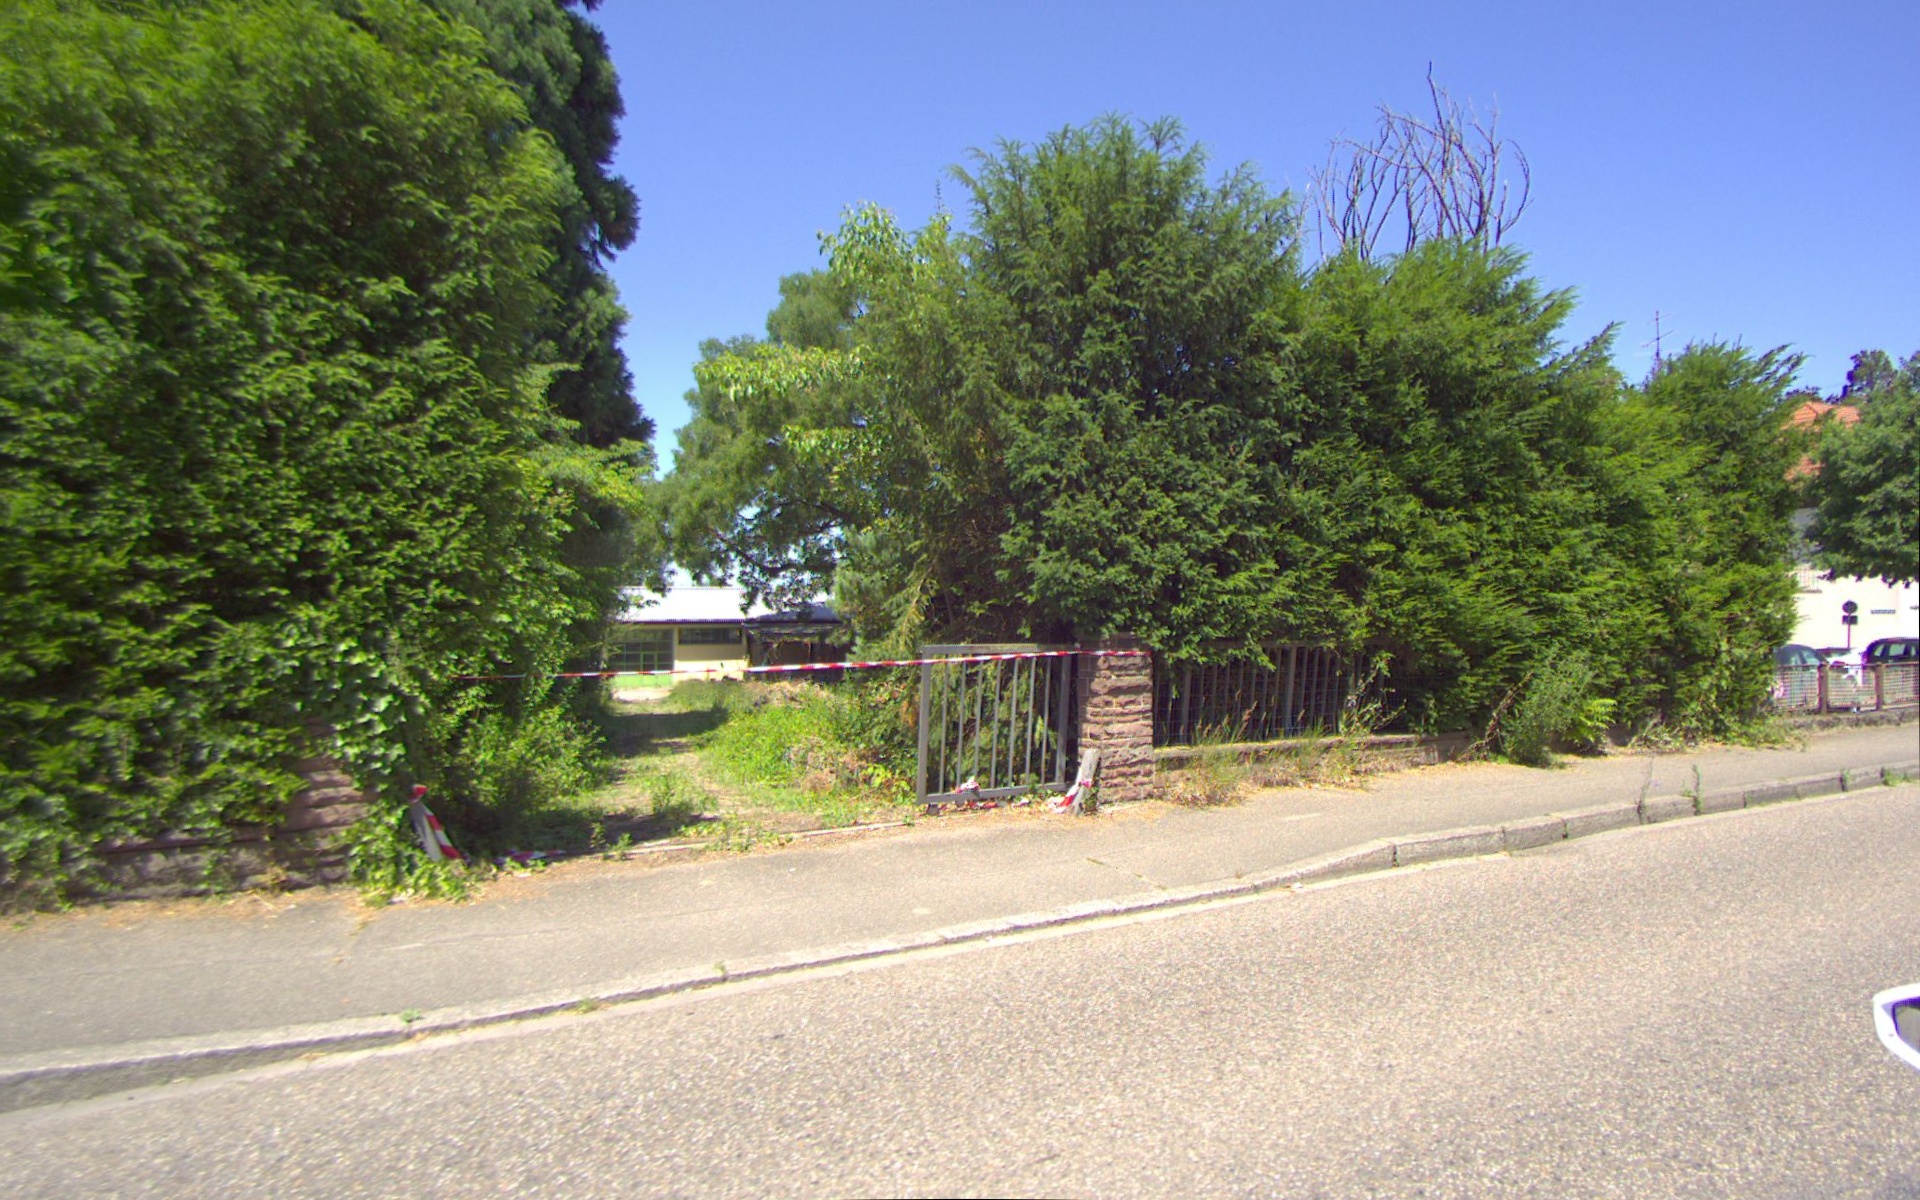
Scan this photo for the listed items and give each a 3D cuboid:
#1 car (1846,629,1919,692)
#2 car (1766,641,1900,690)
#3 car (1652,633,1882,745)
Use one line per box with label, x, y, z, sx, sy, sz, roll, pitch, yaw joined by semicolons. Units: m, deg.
car;25.662;1.596;26.865;3.485;1.596;1.656;1;-2;-24
car;25.537;1.890;29.388;3.485;1.350;1.656;1;-2;-24
car;13.040;1.353;16.225;3.493;1.617;1.768;1;-2;-30
